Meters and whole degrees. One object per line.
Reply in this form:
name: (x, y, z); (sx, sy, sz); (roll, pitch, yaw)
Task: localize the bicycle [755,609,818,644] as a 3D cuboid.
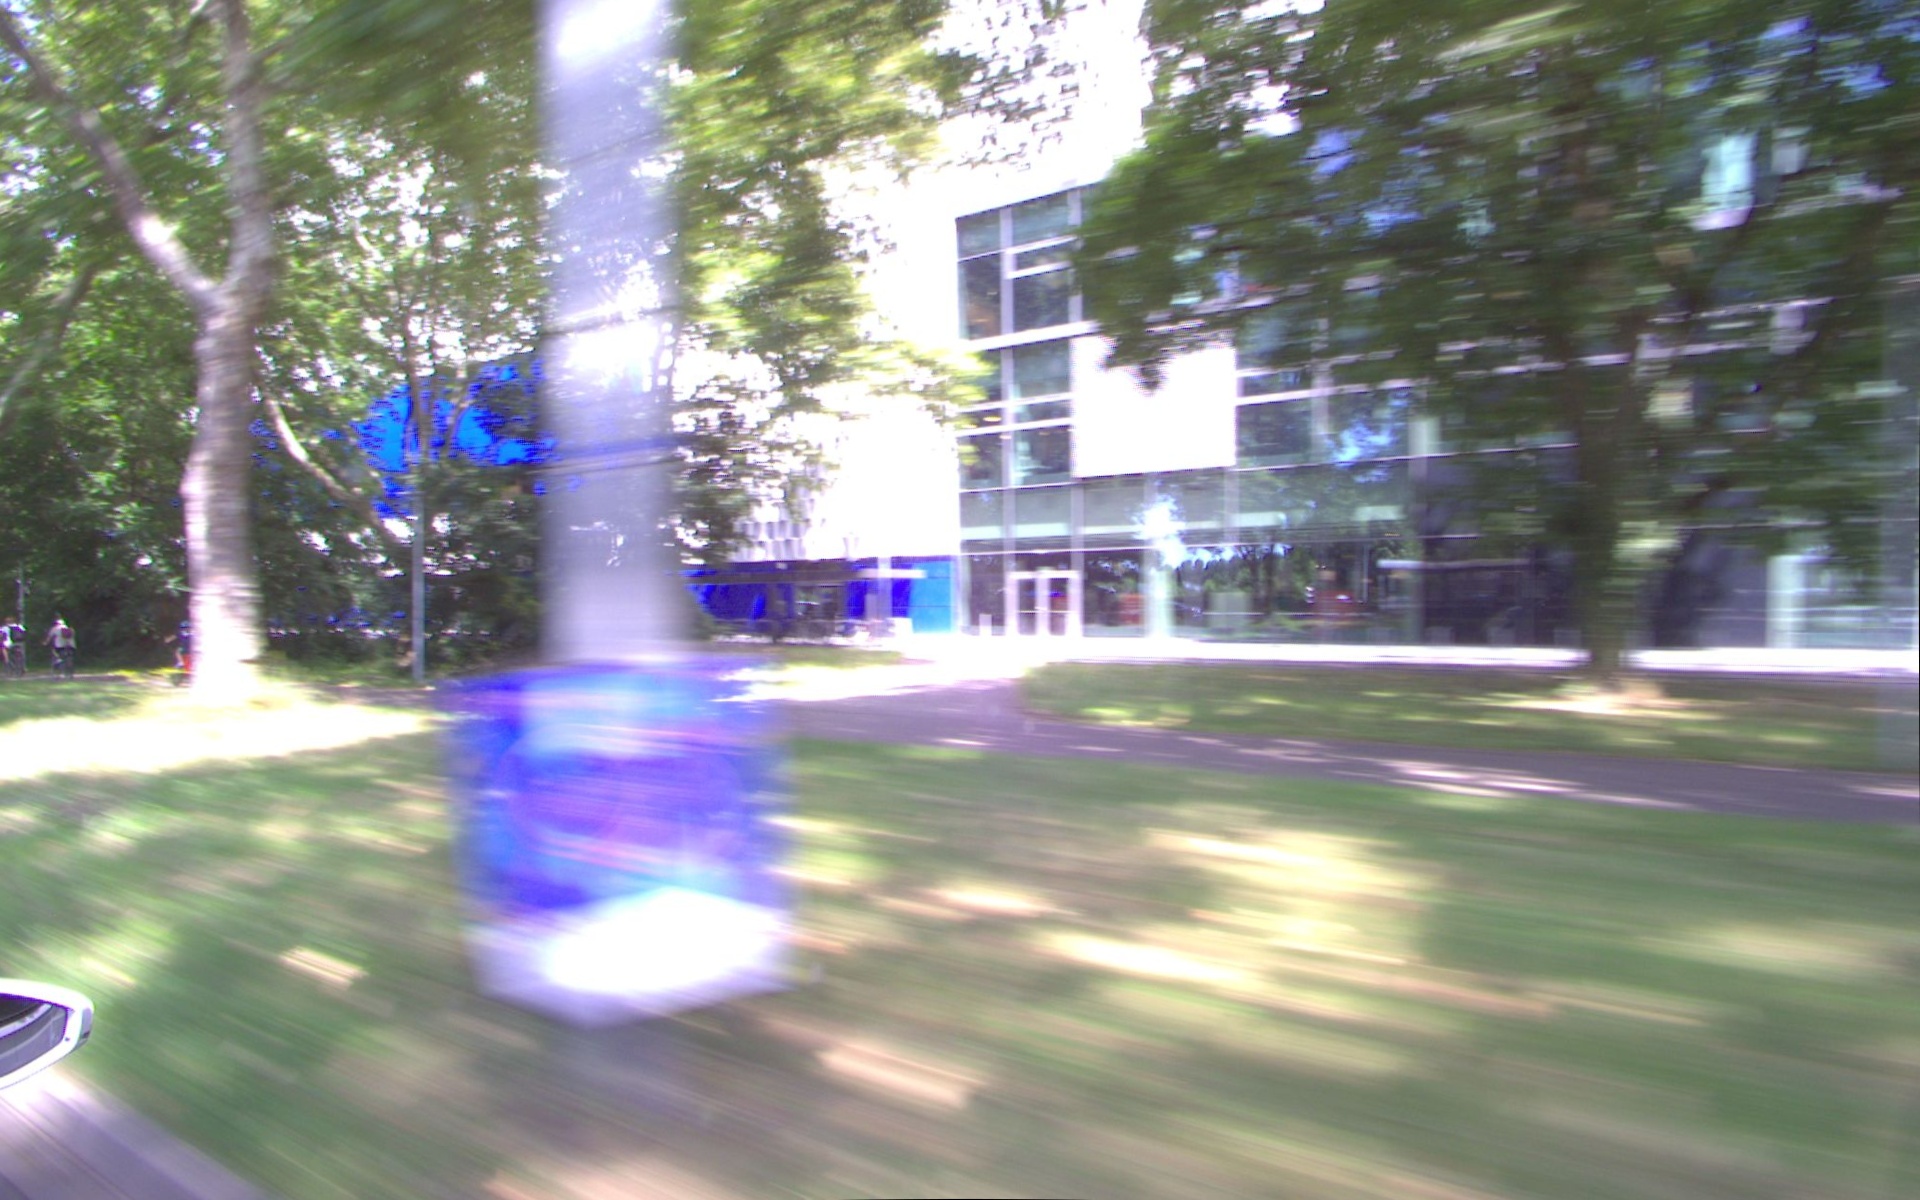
bicycle: (-5.938, 0.901, 34.423); (0.747, 1.125, 2.543); (0, 0, 28)

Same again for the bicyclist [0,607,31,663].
bicyclist: (-29.873, 1.098, 31.634); (0.831, 1.769, 0.596); (0, 0, 33)

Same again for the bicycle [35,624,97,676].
bicycle: (-25.819, 1.412, 28.902); (2.623, 1.439, 0.609); (-1, 0, 32)

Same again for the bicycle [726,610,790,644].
bicycle: (-7.031, 0.925, 35.034); (0.747, 1.125, 2.543); (0, 0, 28)

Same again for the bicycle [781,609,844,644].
bicycle: (-4.959, 0.878, 33.822); (0.747, 1.125, 2.543); (0, 0, 28)

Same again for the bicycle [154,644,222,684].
bicycle: (-18.635, 1.521, 24.145); (1.994, 0.898, 0.644); (-1, 0, 32)

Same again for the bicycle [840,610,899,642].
bicycle: (-2.923, 0.830, 32.607); (0.747, 0.973, 2.314); (0, 0, 28)

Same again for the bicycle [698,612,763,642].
bicycle: (-8.125, 0.947, 35.593); (0.747, 0.983, 2.543); (0, 0, 28)

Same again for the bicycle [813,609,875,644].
bicycle: (-3.836, 0.863, 33.469); (0.747, 1.125, 2.543); (0, 0, 28)

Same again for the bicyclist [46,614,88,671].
bicyclist: (-25.788, 1.225, 28.918); (1.038, 1.620, 0.657); (-1, 0, 33)

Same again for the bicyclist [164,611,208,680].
bicyclist: (-18.722, 1.084, 24.222); (0.805, 1.631, 0.621); (0, 0, 34)

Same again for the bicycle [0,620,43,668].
bicycle: (-29.742, 1.368, 31.537); (2.623, 1.439, 0.609); (-1, 0, 32)
